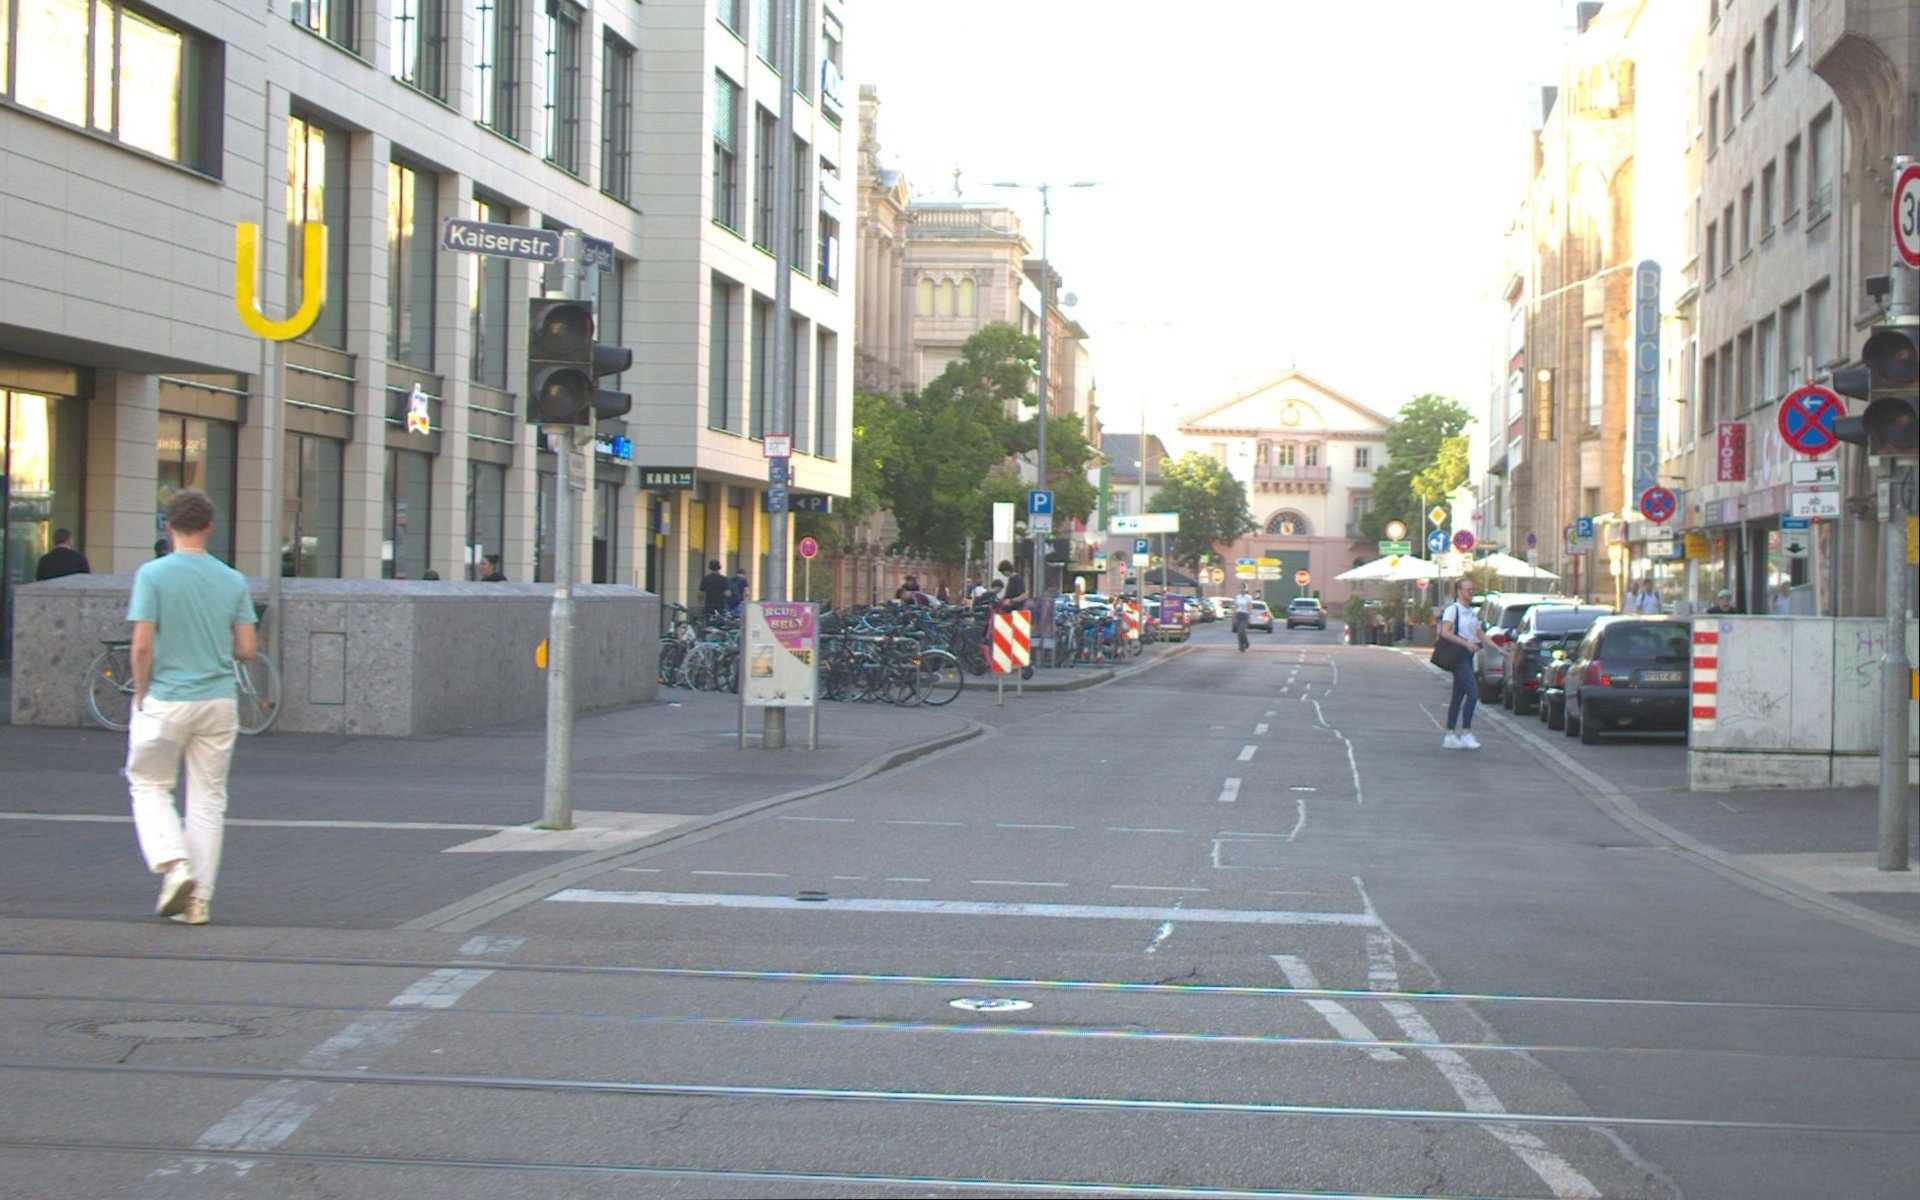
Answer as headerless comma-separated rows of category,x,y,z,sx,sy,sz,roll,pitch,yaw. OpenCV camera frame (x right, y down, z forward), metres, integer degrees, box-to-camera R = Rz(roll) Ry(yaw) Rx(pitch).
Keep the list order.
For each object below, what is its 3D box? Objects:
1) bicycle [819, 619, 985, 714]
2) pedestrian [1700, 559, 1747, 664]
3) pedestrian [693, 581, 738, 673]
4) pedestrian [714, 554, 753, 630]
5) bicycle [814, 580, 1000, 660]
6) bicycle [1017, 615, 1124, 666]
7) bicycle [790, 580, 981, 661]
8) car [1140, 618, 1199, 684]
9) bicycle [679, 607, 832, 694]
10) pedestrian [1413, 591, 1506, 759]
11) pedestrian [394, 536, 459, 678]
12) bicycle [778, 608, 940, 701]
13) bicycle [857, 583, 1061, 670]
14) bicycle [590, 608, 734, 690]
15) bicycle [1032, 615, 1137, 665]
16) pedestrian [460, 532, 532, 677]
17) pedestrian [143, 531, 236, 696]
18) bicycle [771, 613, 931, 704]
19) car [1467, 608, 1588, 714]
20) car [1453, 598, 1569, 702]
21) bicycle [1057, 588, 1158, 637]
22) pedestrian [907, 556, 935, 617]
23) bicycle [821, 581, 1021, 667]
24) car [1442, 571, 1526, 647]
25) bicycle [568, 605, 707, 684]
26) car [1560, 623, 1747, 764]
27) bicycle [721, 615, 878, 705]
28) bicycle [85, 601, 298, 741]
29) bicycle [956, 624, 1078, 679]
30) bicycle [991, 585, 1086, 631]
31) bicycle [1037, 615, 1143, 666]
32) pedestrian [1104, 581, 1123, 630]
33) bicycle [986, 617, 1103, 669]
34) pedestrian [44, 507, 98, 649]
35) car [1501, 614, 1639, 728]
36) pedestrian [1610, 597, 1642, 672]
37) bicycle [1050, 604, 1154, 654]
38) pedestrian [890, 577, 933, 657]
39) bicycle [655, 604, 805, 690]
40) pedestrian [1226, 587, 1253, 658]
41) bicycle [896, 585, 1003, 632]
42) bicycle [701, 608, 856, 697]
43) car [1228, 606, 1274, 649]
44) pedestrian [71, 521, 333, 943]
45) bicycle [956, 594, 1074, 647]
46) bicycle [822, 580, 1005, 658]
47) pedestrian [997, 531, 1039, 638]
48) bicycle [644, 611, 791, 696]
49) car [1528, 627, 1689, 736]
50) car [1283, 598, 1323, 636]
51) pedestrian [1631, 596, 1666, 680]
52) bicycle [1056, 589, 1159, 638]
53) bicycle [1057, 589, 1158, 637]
bicycle,-0.728,0.837,43.114,1.967,1.118,0.558,2,0,-22
pedestrian,12.383,0.180,55.762,0.644,1.684,0.671,1,0,5
pedestrian,-4.345,0.482,61.151,0.680,1.615,0.573,1,0,6
pedestrian,-4.859,-0.180,73.812,0.731,1.615,0.661,1,0,6
bicycle,-0.853,0.323,55.340,2.886,1.251,0.804,0,0,-19
bicycle,2.291,0.838,71.214,2.149,1.026,0.640,1,0,8
bicycle,-1.164,0.322,53.893,2.886,1.251,0.804,0,0,-19
car,6.766,1.620,110.558,1.711,2.007,3.999,1,0,6
bicycle,-2.786,0.690,46.953,1.967,1.118,0.558,2,0,-22
pedestrian,5.202,0.775,35.808,0.834,1.715,0.682,1,0,-1
pedestrian,-6.283,0.080,40.497,0.600,1.641,0.546,2,0,4
bicycle,-1.287,0.701,43.947,1.967,1.118,0.558,2,0,-22
bicycle,-0.010,0.394,50.467,2.886,1.251,0.804,0,0,-19
bicycle,-4.314,0.714,49.773,1.967,1.118,0.558,2,0,-22
bicycle,2.631,0.839,72.704,2.149,1.026,0.640,1,0,8
pedestrian,-5.475,0.047,40.611,0.681,1.675,0.600,2,0,4
pedestrian,-8.334,0.140,37.202,0.782,1.745,0.600,2,0,4
bicycle,-1.410,0.761,44.670,1.967,1.118,0.558,2,0,-22
car,9.093,0.951,55.302,1.679,1.608,4.027,0,0,6
car,9.809,0.862,61.468,1.799,1.762,4.397,0,0,6
bicycle,3.264,0.273,76.067,2.149,1.026,0.640,1,0,8
pedestrian,-1.047,-0.358,92.260,0.680,1.615,0.573,1,0,6
bicycle,-0.584,0.362,51.624,2.886,1.251,0.804,0,0,-19
car,11.758,0.195,77.291,1.679,1.660,3.672,0,0,6
bicycle,-4.865,0.676,51.889,1.967,1.118,0.558,2,0,-22
car,7.740,1.014,38.624,1.679,1.419,3.672,2,0,6
bicycle,-2.123,0.797,45.612,1.967,1.118,0.558,2,0,-22
bicycle,-6.581,0.602,29.461,1.697,1.118,0.451,2,0,9
bicycle,1.034,0.924,62.252,2.149,0.950,0.640,1,0,8
bicycle,1.827,0.188,79.857,2.149,1.026,0.640,1,0,8
bicycle,2.719,0.849,71.960,2.149,1.026,0.640,1,0,8
pedestrian,4.726,0.163,106.161,0.549,1.481,0.565,1,0,4
bicycle,1.612,0.811,65.326,2.149,0.950,0.640,1,0,8
pedestrian,-9.521,-0.236,36.829,0.390,1.510,0.505,1,0,5
car,8.686,0.987,49.178,1.679,1.542,3.672,0,0,6
pedestrian,15.712,0.807,81.149,0.644,1.740,0.671,1,0,5
bicycle,3.046,0.624,73.545,2.149,1.026,0.640,1,0,8
pedestrian,-0.934,0.325,66.309,0.751,1.524,0.485,1,0,6
bicycle,-3.180,0.658,47.566,1.967,1.118,0.558,2,0,-22
pedestrian,7.151,0.576,87.957,0.599,1.817,0.452,1,0,17
bicycle,-0.217,0.170,71.343,2.149,0.950,0.640,1,0,8
bicycle,-2.445,0.711,46.379,1.967,1.118,0.558,2,0,-22
car,13.593,1.262,160.190,1.994,1.897,3.999,2,0,6
pedestrian,-3.273,0.555,14.819,0.865,1.755,0.768,2,0,-28
bicycle,1.032,0.375,64.328,2.149,0.950,0.640,1,0,8
bicycle,-0.761,0.319,56.310,2.886,1.251,0.804,0,0,-19
pedestrian,0.987,-0.265,58.454,0.657,1.817,0.528,1,0,-4
bicycle,-3.428,0.758,48.616,1.967,1.118,0.558,2,0,-22
car,8.265,1.013,44.082,1.679,1.286,4.046,0,0,6
car,17.966,0.874,179.807,1.994,1.897,3.999,2,0,6
pedestrian,14.842,0.806,74.147,0.644,1.794,0.671,1,0,5
bicycle,3.189,0.284,74.303,2.149,1.026,0.640,1,0,8
bicycle,3.242,0.278,75.339,2.149,1.026,0.640,1,0,8
